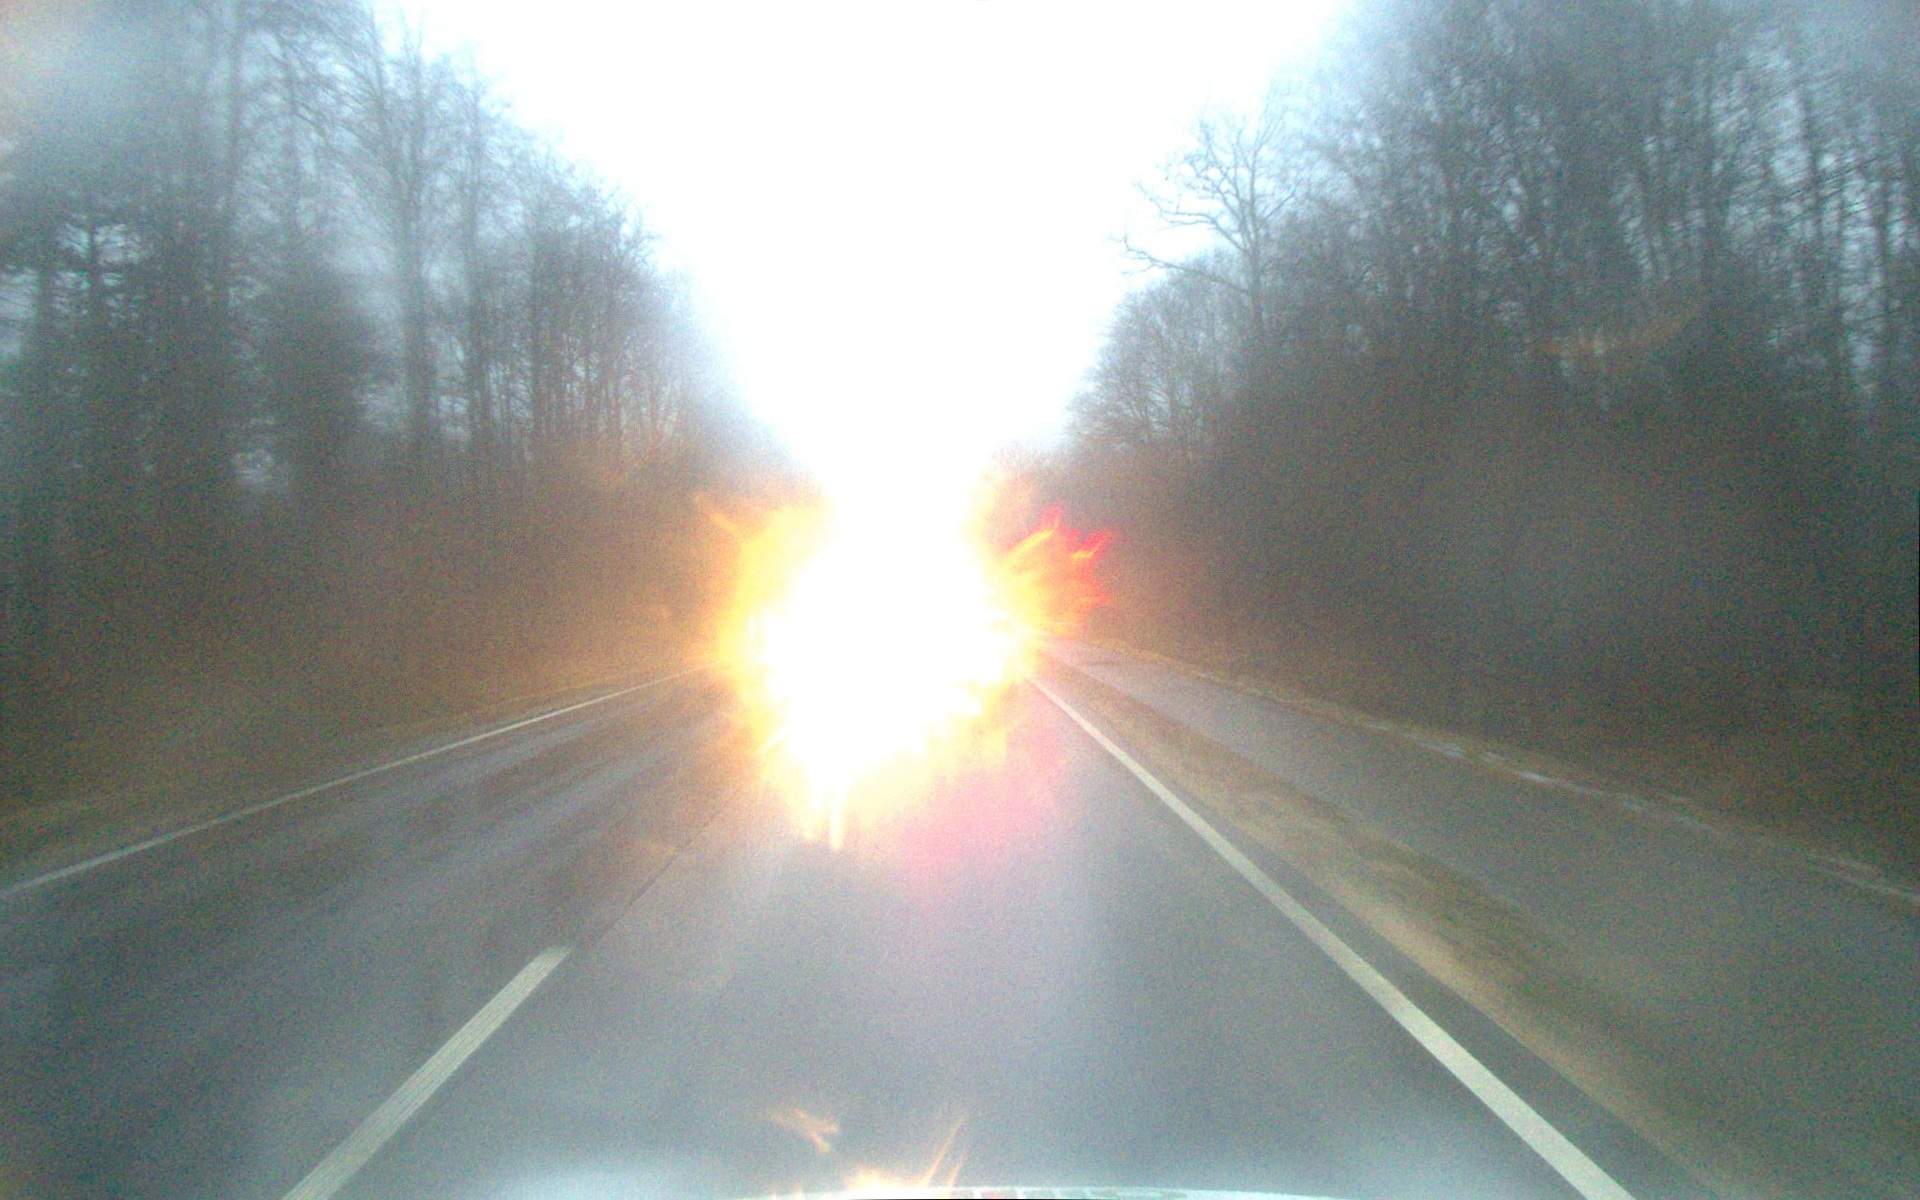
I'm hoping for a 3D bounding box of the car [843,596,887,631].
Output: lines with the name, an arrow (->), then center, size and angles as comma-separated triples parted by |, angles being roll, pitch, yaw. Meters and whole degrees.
car -> -4.315, 0.616, 75.787 | 1.762, 1.487, 4.176 | -2, 0, -1
